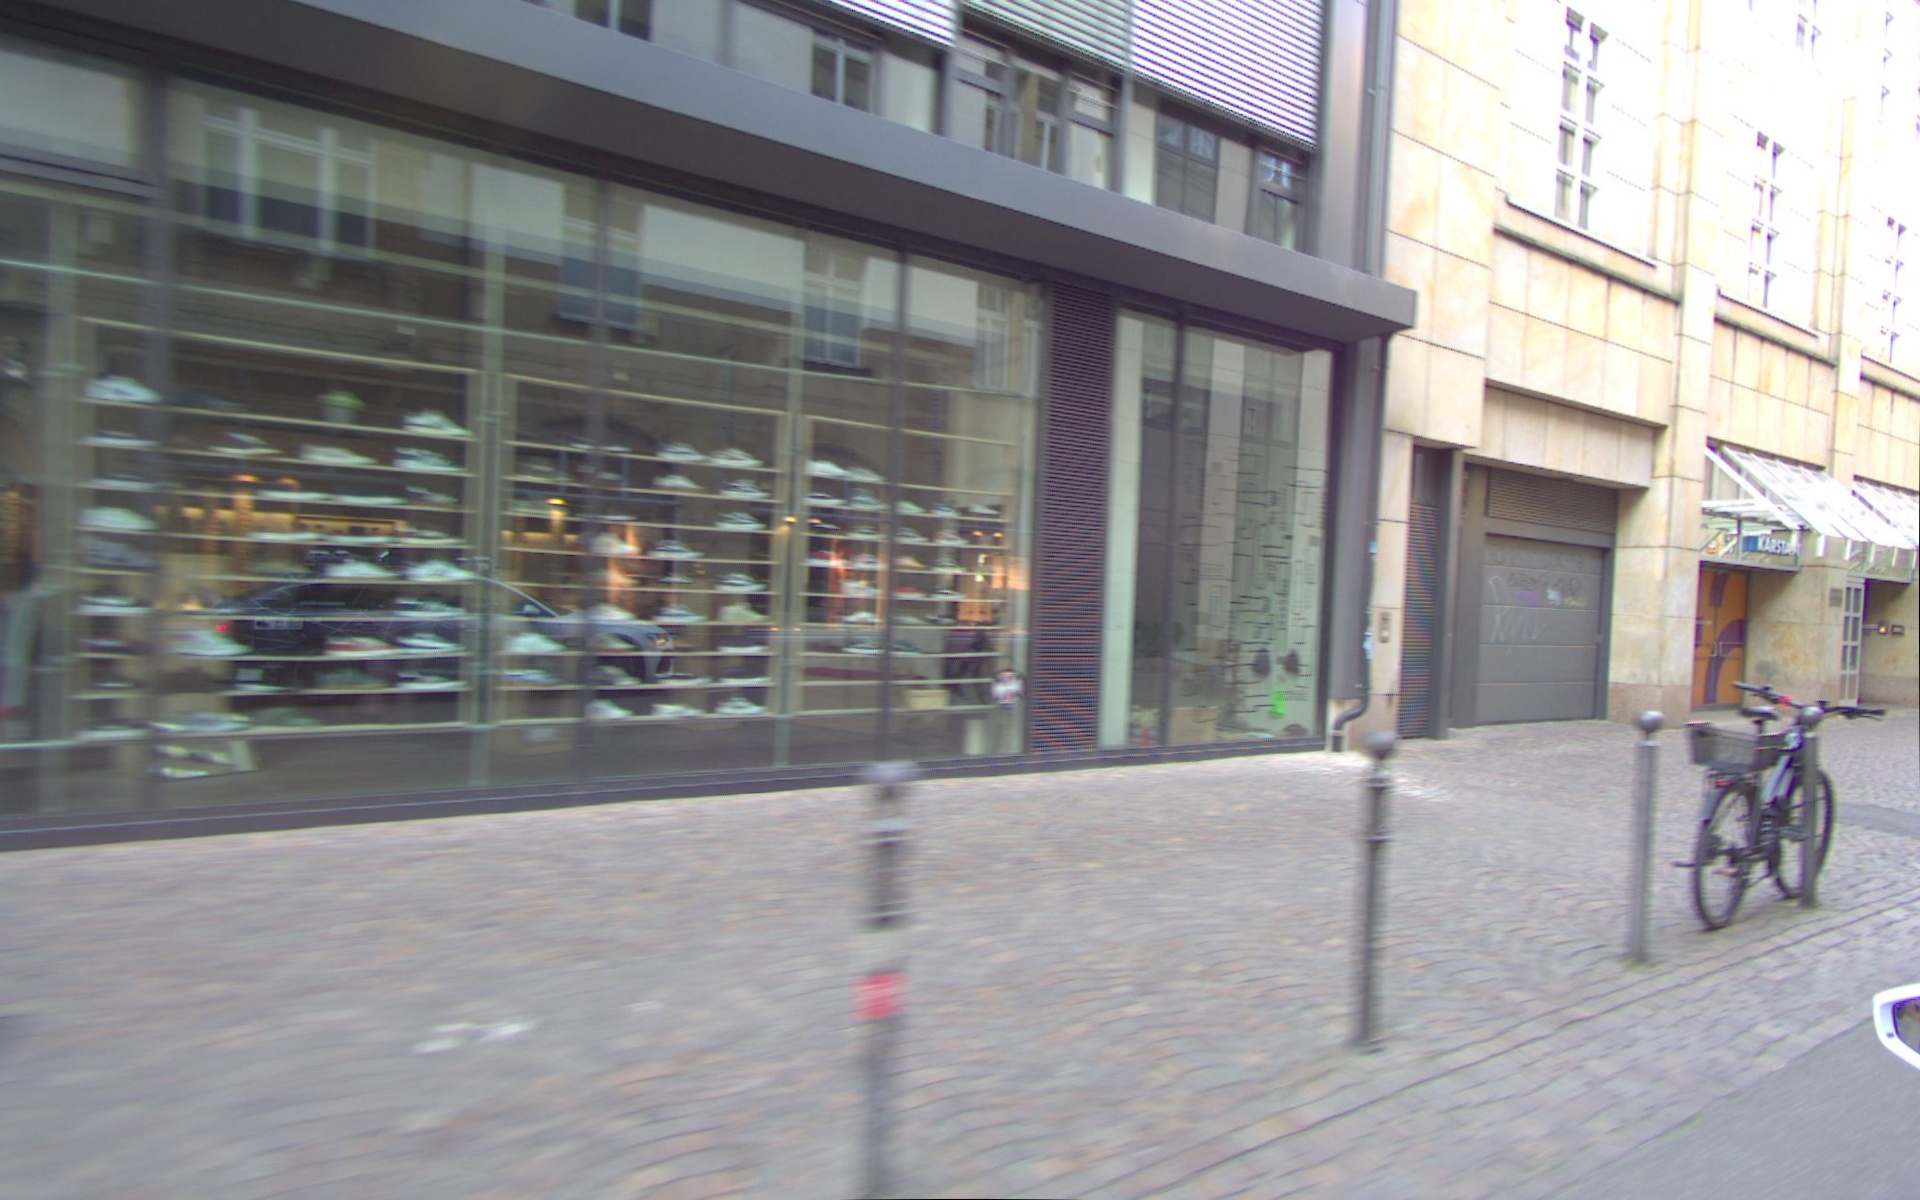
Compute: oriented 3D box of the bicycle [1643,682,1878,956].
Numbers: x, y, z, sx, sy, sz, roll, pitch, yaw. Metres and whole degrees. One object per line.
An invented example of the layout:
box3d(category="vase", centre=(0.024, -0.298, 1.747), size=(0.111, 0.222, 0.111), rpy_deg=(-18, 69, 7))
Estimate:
box3d(category="bicycle", centre=(4.196, 1.039, 5.207), size=(1.912, 1.147, 0.407), rpy_deg=(2, 1, -36))
